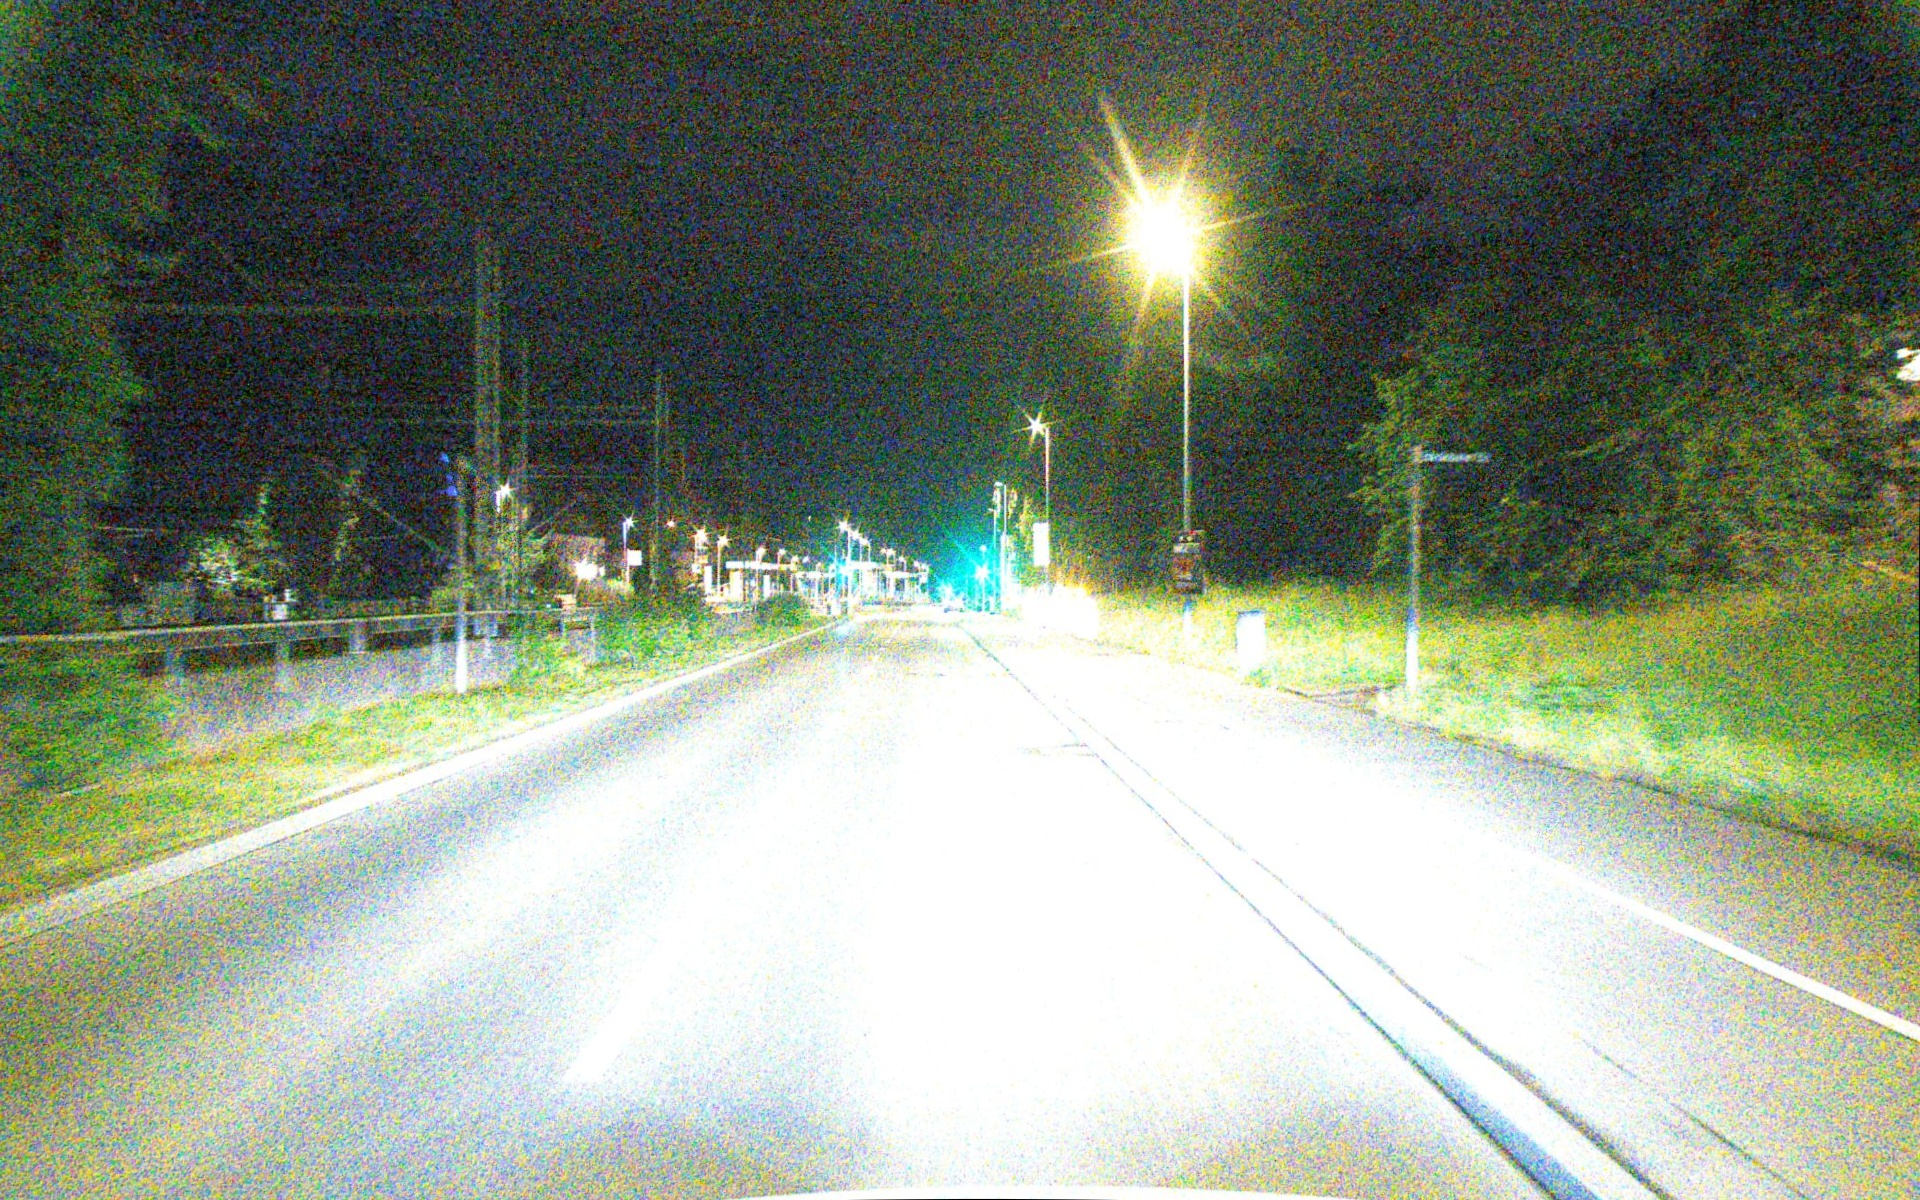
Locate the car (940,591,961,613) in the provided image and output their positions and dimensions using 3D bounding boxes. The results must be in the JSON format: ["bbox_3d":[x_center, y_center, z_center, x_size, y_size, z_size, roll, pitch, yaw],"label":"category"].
[{"bbox_3d":[-0.906,0.211,158.289,2.045,2.049,4.000,0,0,0],"label":"car"}]
